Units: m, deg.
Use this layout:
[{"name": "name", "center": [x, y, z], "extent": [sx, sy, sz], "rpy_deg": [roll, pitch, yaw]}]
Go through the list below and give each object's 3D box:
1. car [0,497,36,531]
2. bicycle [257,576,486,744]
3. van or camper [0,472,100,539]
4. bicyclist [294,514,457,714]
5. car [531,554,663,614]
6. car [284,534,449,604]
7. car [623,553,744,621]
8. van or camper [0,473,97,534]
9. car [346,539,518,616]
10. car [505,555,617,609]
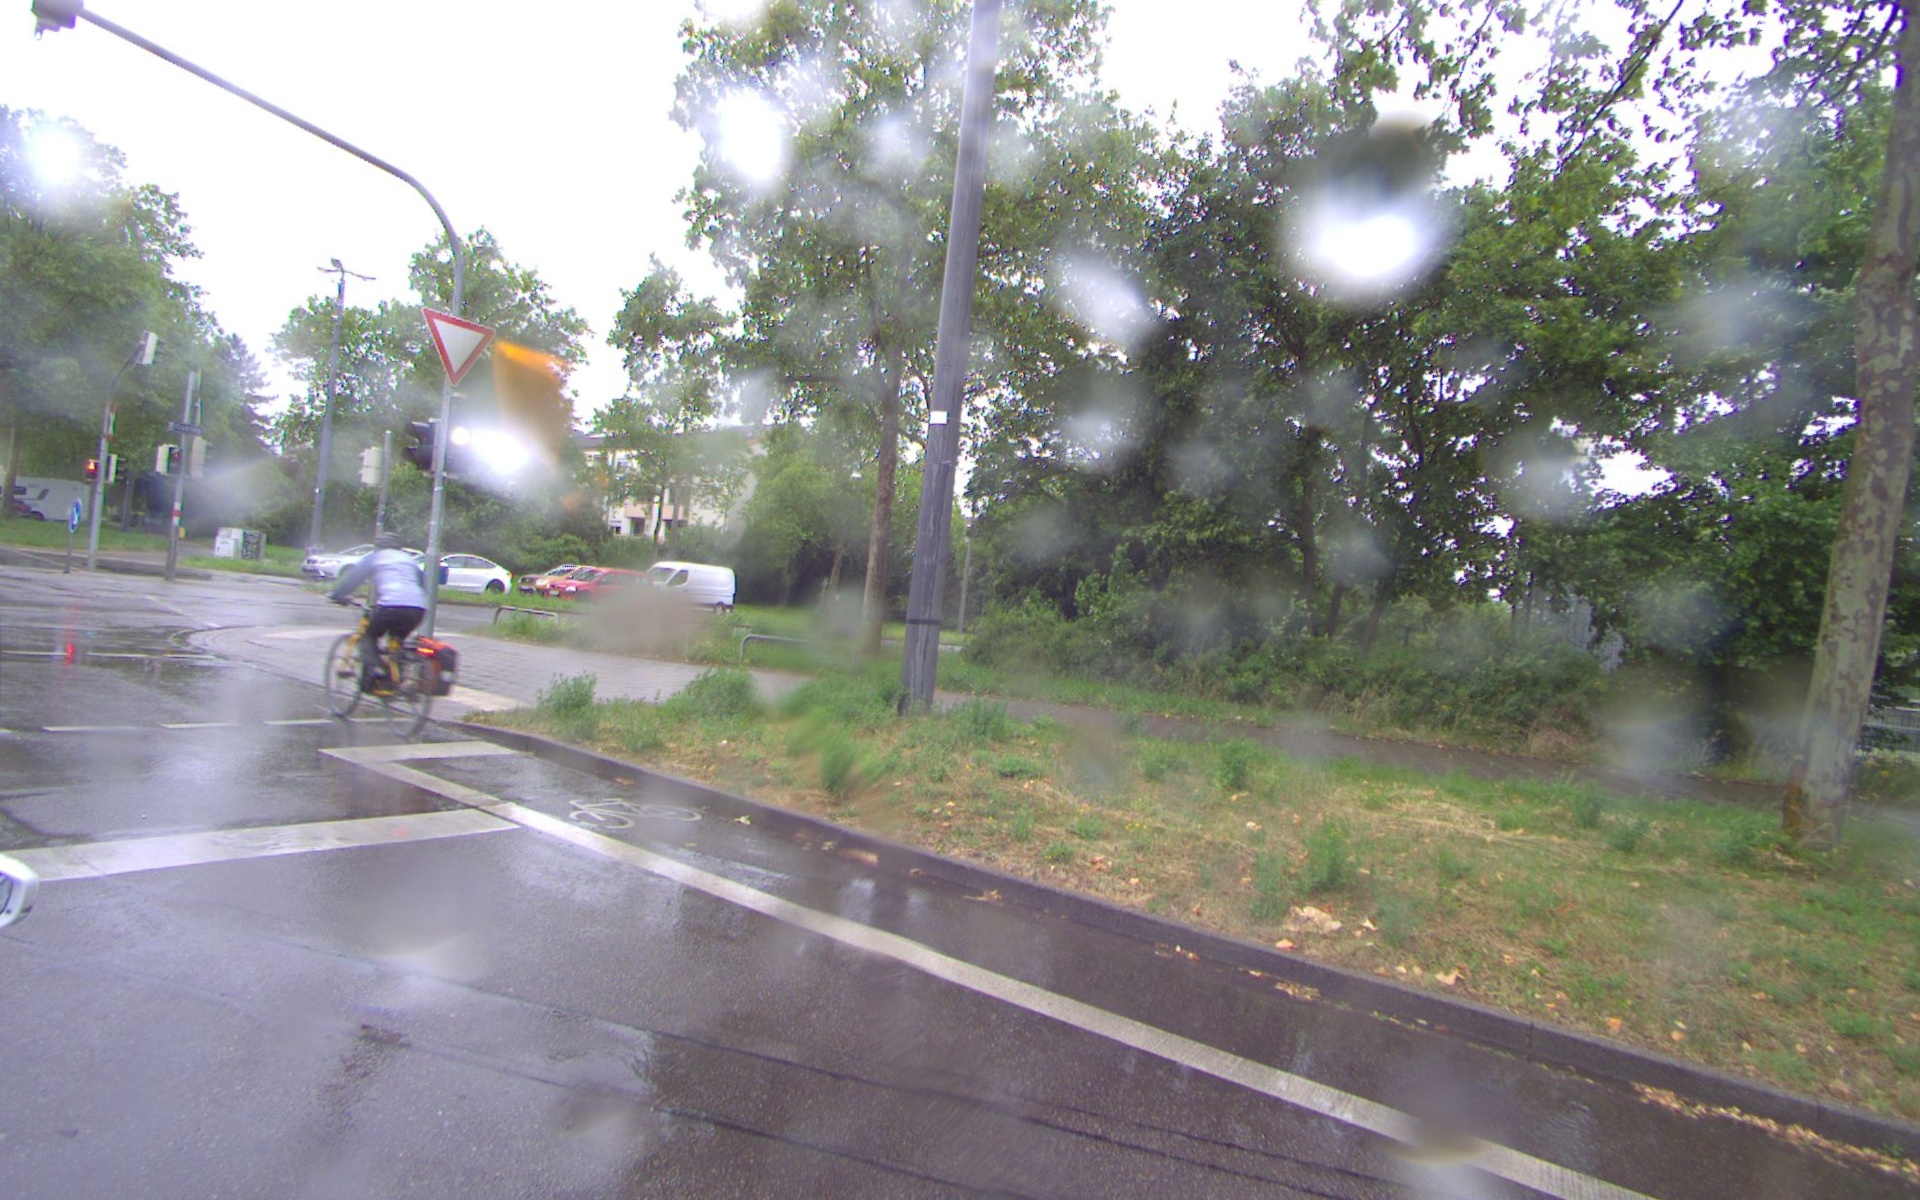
[{"name": "car", "center": [-55.769, -5.147, 57.179], "extent": [4.424, 1.736, 1.980], "rpy_deg": [9, -2, -37]}, {"name": "bicycle", "center": [-4.880, 0.473, 8.315], "extent": [1.853, 1.130, 0.692], "rpy_deg": [6, -2, 29]}, {"name": "van or camper", "center": [-56.884, -5.913, 60.702], "extent": [7.296, 3.215, 3.226], "rpy_deg": [9, -2, -40]}, {"name": "bicyclist", "center": [-4.818, 0.124, 8.304], "extent": [0.830, 1.523, 0.692], "rpy_deg": [6, -1, 29]}, {"name": "car", "center": [-13.833, -0.566, 38.631], "extent": [1.760, 1.625, 4.615], "rpy_deg": [6, -2, 29]}, {"name": "car", "center": [-20.162, -1.004, 34.368], "extent": [1.900, 1.710, 4.407], "rpy_deg": [7, -2, 26]}, {"name": "car", "center": [-12.972, -0.549, 47.589], "extent": [1.966, 2.419, 5.619], "rpy_deg": [6, -2, 29]}, {"name": "van or camper", "center": [-63.259, -6.672, 67.604], "extent": [7.388, 3.215, 3.231], "rpy_deg": [9, -2, -36]}, {"name": "car", "center": [-17.165, -0.681, 32.984], "extent": [1.900, 1.849, 4.608], "rpy_deg": [7, -2, 26]}, {"name": "car", "center": [-16.398, -0.696, 41.566], "extent": [1.759, 1.625, 4.069], "rpy_deg": [7, -2, 26]}]
